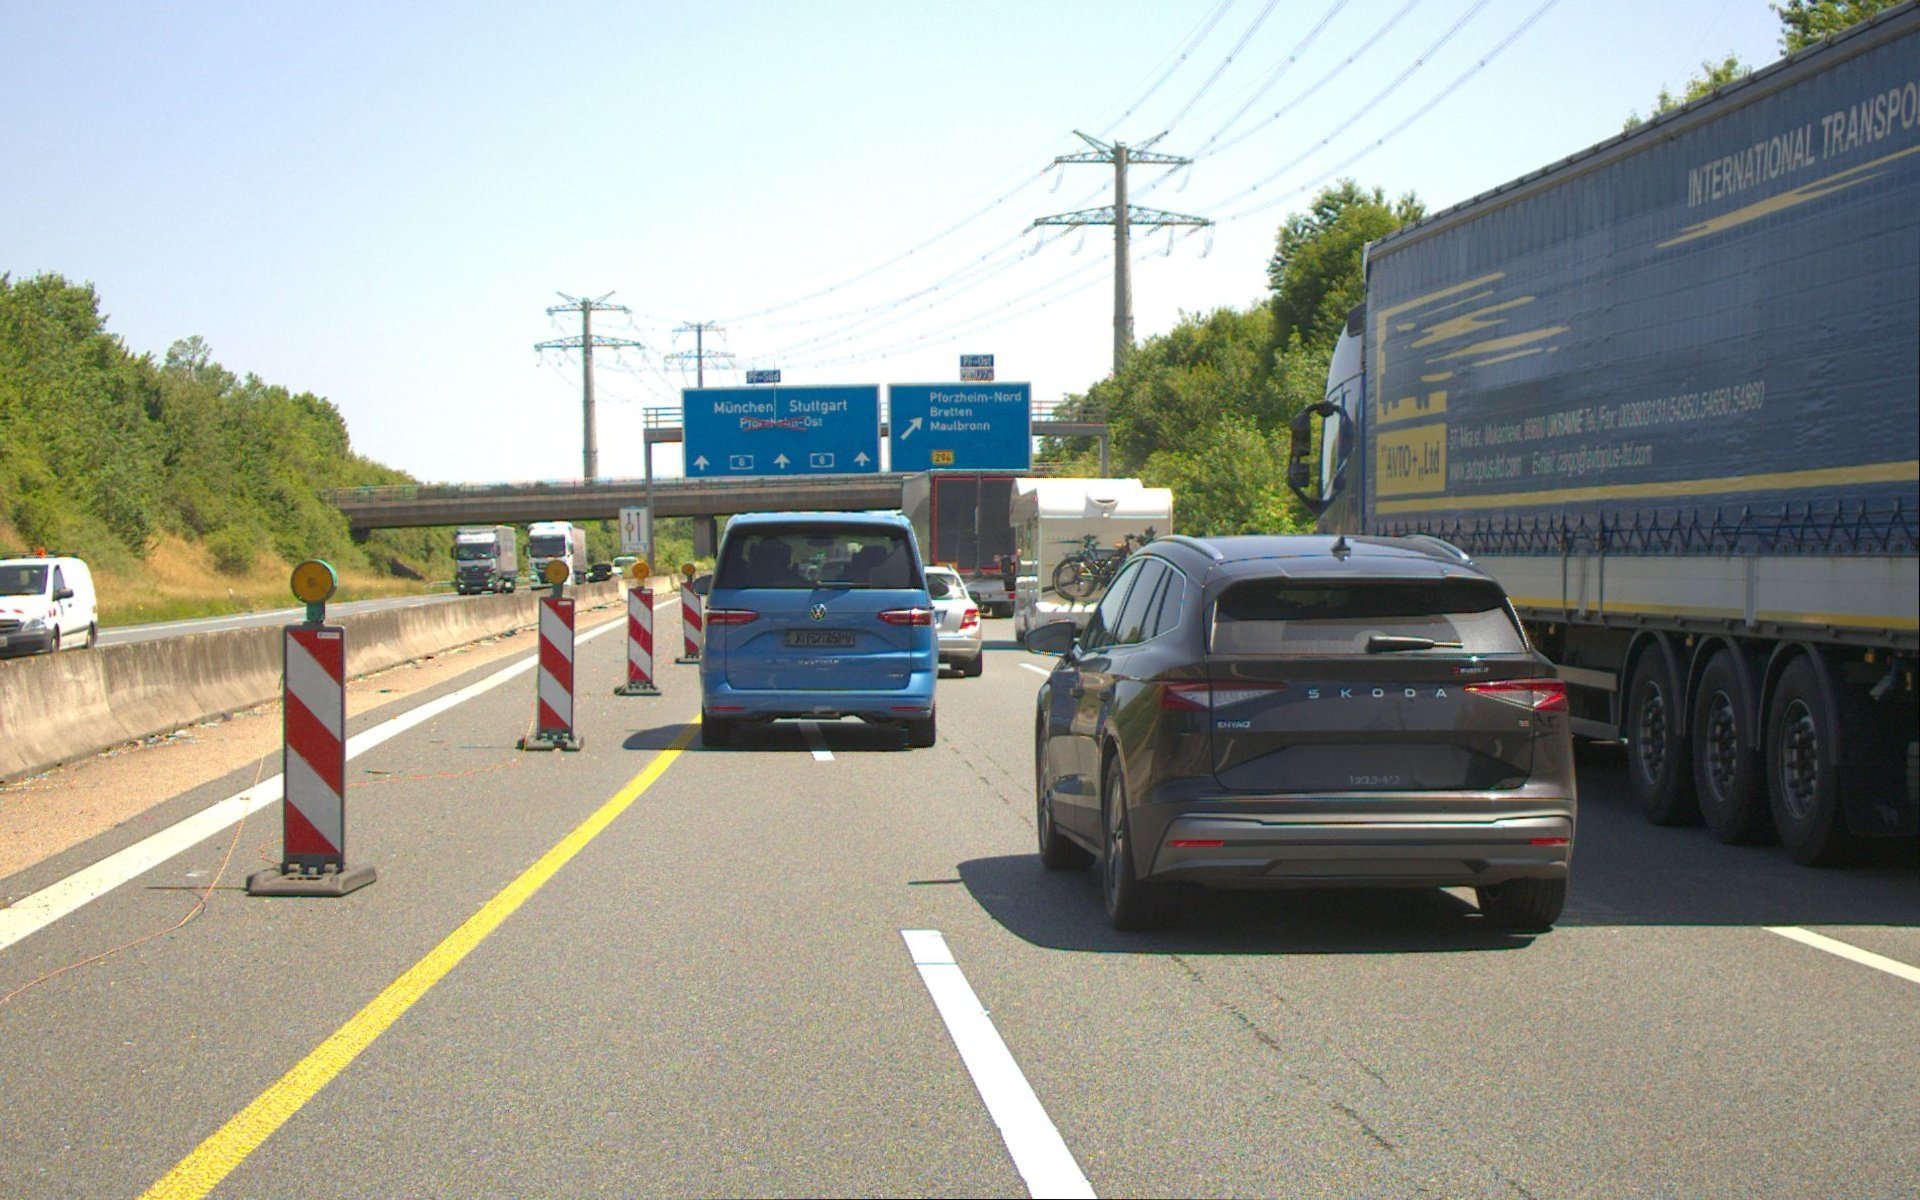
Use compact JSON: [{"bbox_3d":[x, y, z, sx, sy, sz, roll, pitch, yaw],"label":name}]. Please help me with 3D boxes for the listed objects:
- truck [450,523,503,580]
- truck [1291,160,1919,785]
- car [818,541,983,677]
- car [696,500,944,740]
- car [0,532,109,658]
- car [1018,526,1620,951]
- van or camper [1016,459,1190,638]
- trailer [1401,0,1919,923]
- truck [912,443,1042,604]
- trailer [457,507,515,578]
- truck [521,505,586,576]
[{"bbox_3d":[-28.610,-2.871,203.570,2.464,3.277,6.925,-1,1,-3],"label":"truck"},{"bbox_3d":[4.712,-0.888,26.407,3.024,4.073,7.797,0,1,-4],"label":"truck"},{"bbox_3d":[-0.833,0.080,44.981,1.895,1.504,4.444,2,2,-4],"label":"car"},{"bbox_3d":[-1.235,0.160,28.872,1.895,1.835,4.443,1,0,-4],"label":"car"},{"bbox_3d":[-16.247,-0.109,59.703,1.963,2.078,4.939,-1,1,-4],"label":"car"},{"bbox_3d":[1.390,0.475,15.119,1.895,1.586,4.443,0,1,-4],"label":"car"},{"bbox_3d":[2.422,-0.901,59.984,2.586,2.958,6.085,0,1,-2],"label":"van or camper"},{"bbox_3d":[5.199,-0.731,19.546,3.064,4.029,11.489,0,1,-4],"label":"trailer"},{"bbox_3d":[0.344,-2.061,95.698,3.077,4.132,13.055,1,1,-2],"label":"truck"},{"bbox_3d":[-29.060,-3.508,211.263,2.480,4.166,12.087,-1,1,-3],"label":"trailer"},{"bbox_3d":[-24.694,-3.632,209.001,3.163,4.210,7.416,-1,1,-1],"label":"truck"}]
